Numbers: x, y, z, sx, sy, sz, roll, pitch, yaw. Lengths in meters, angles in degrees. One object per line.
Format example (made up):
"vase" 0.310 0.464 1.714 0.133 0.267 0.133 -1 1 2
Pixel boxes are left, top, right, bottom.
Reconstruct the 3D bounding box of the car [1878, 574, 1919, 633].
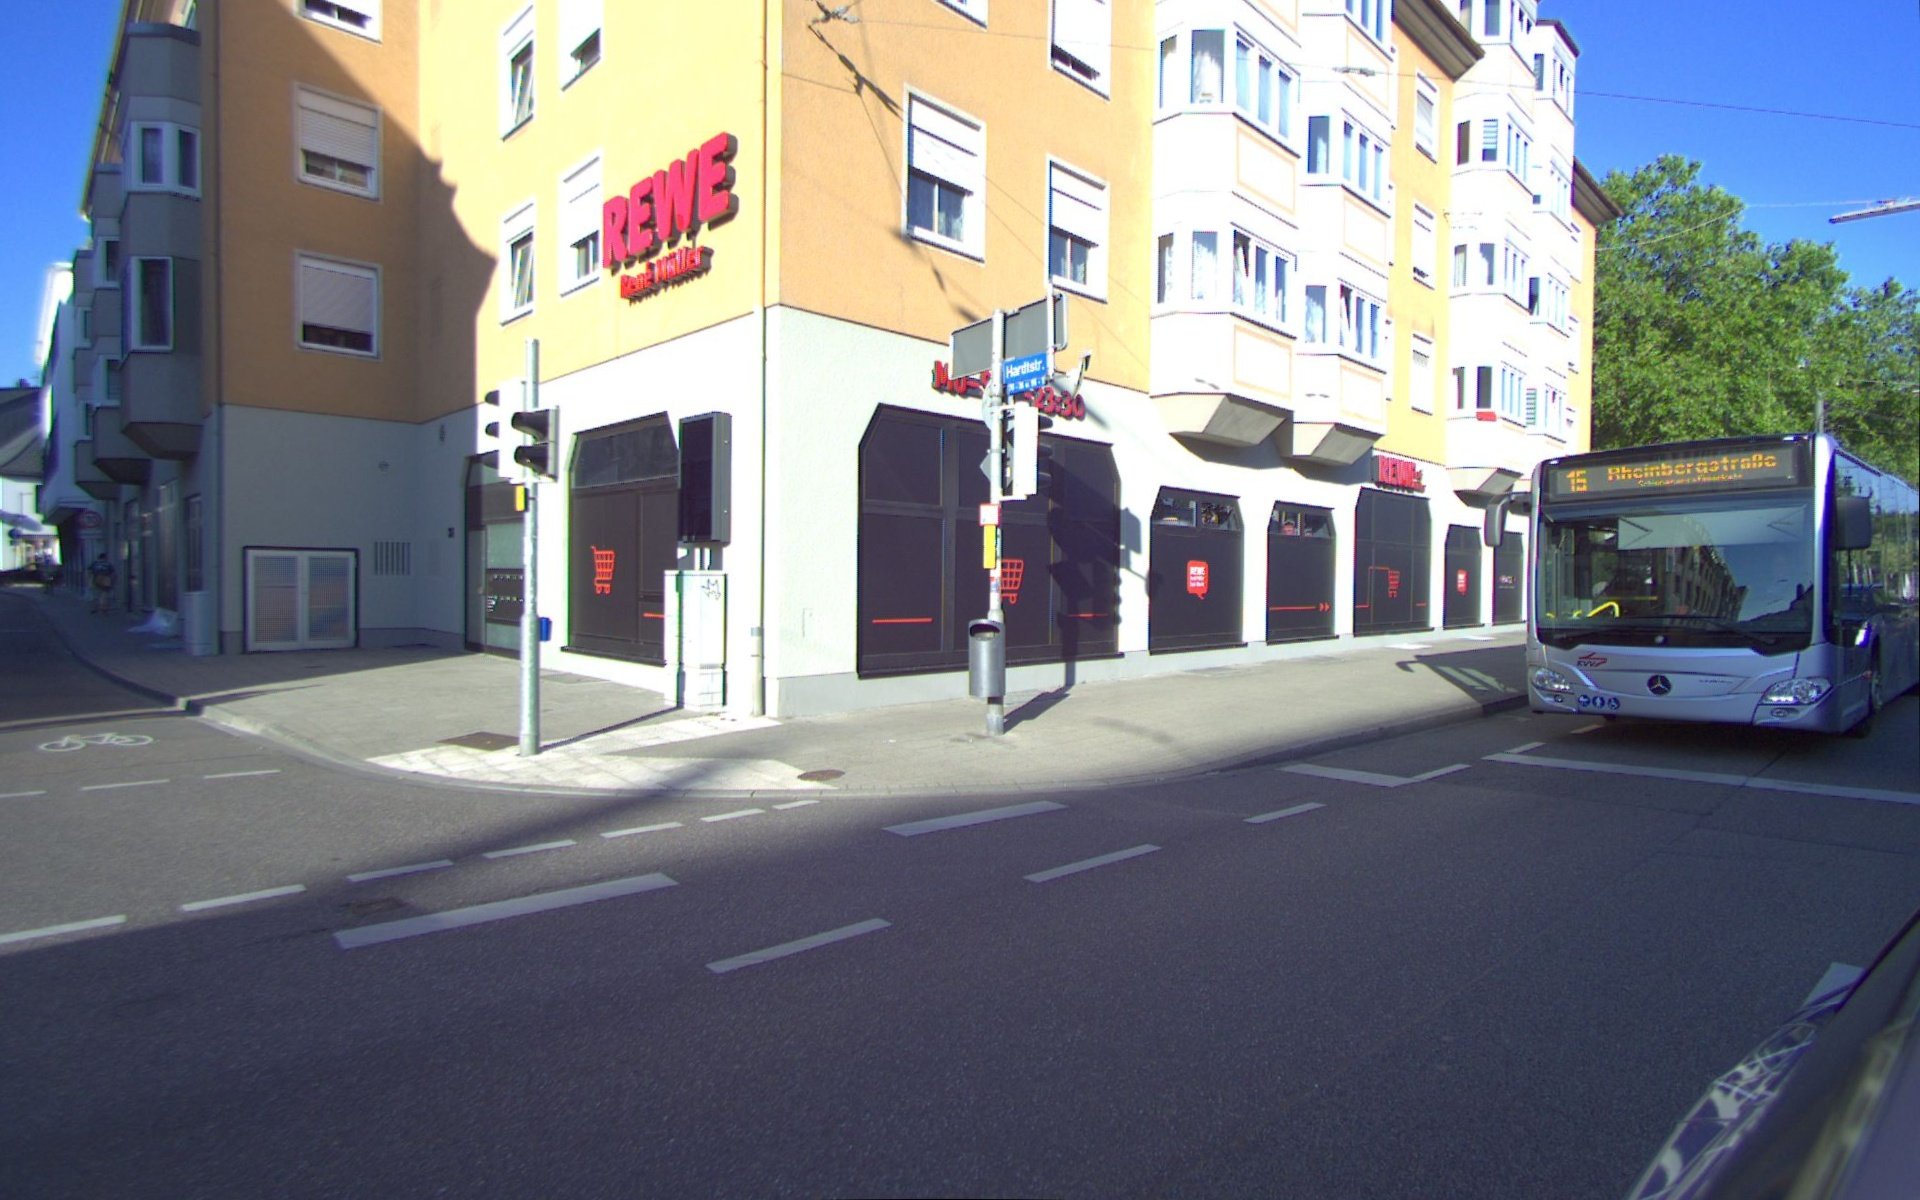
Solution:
"car" 28.638 0.066 30.154 1.746 1.627 3.763 0 2 45

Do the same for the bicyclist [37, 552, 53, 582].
"bicyclist" -40.340 -1.453 44.630 0.478 1.310 0.499 -2 2 -45

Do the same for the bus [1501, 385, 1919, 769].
"bus" 13.007 -0.384 15.289 17.438 3.189 2.770 -2 2 -42

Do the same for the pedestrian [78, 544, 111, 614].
"pedestrian" -24.866 -0.599 29.082 0.709 1.978 0.685 -1 1 -42

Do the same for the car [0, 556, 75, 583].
"car" -59.959 -1.975 64.927 1.990 1.676 4.500 0 2 39

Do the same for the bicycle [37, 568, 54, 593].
"bicycle" -40.248 -0.871 44.543 0.478 1.090 1.310 -2 2 -44
